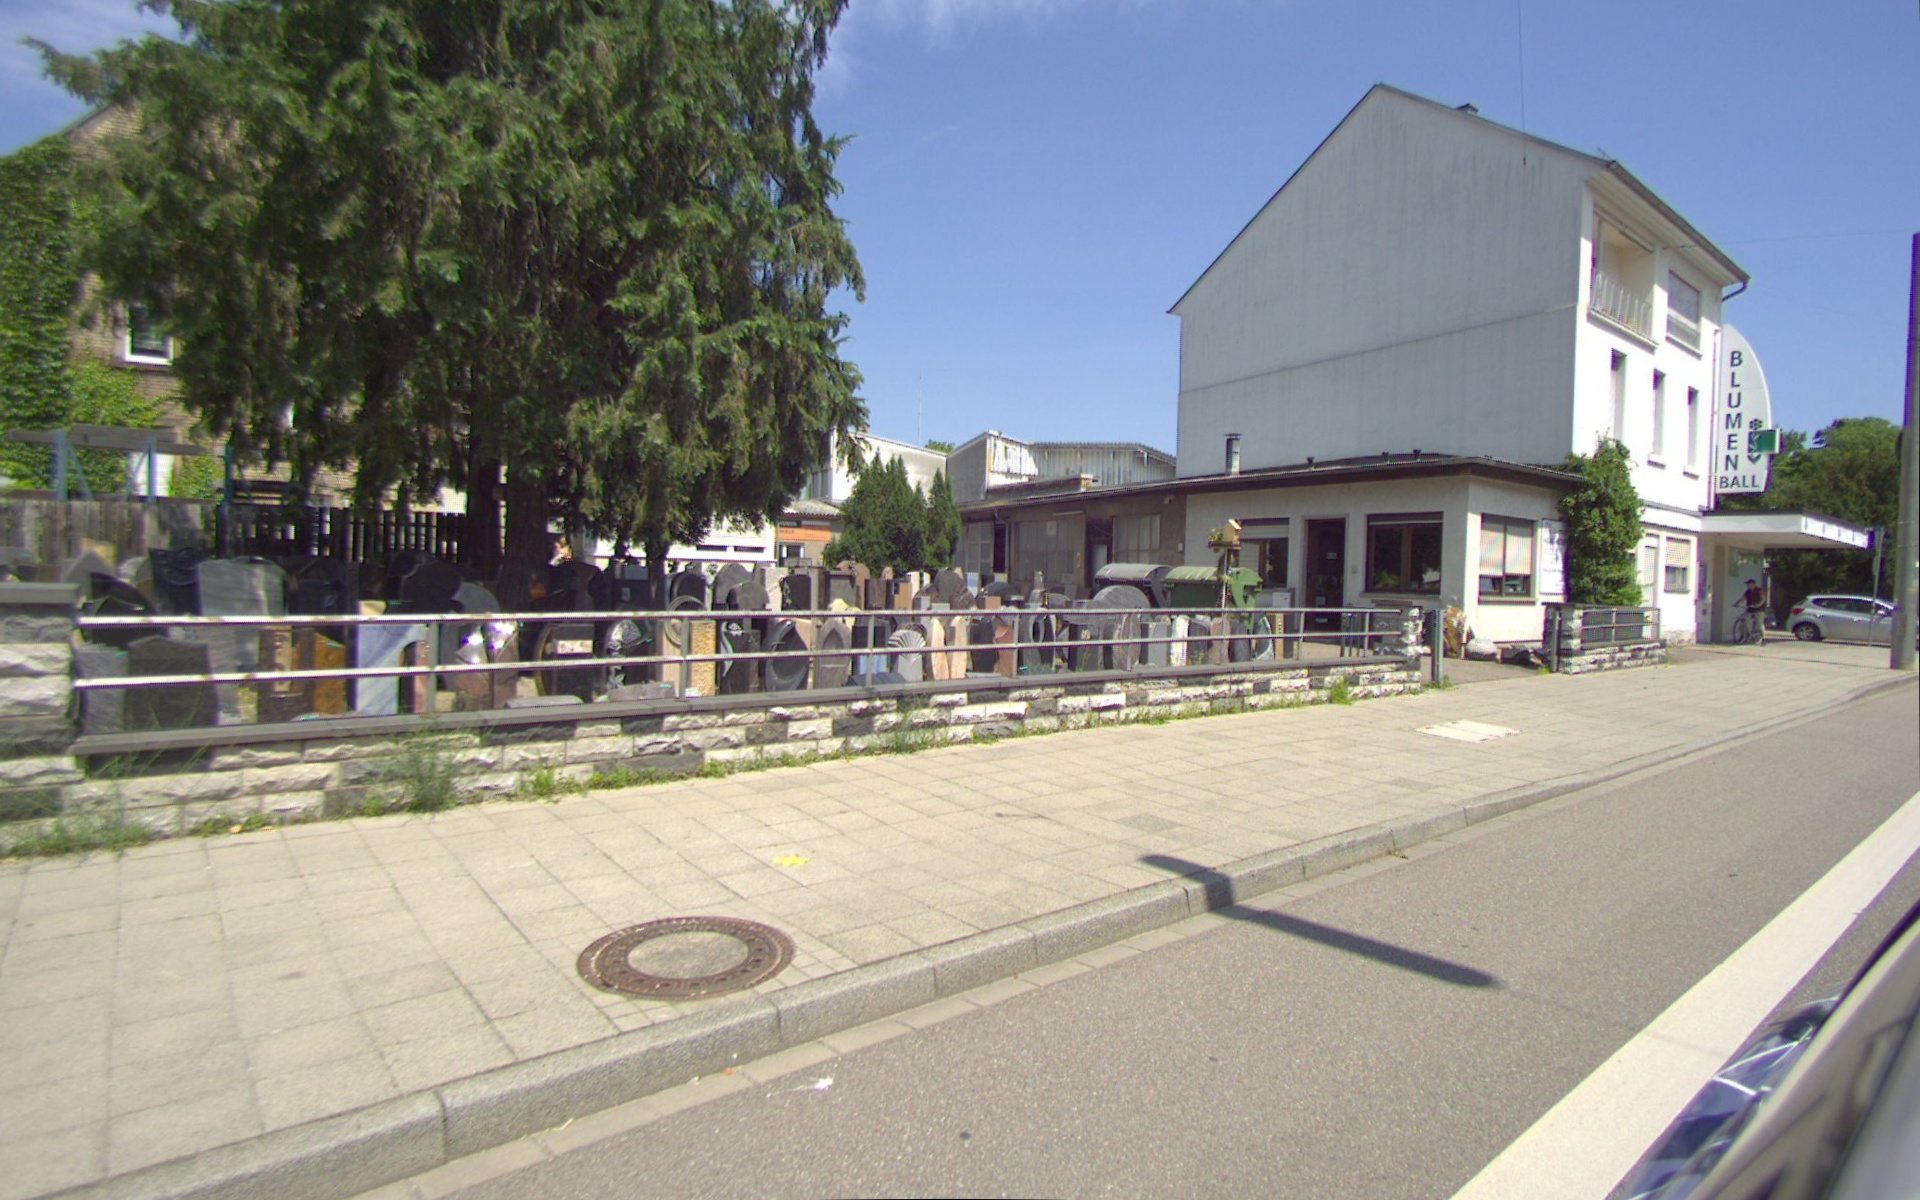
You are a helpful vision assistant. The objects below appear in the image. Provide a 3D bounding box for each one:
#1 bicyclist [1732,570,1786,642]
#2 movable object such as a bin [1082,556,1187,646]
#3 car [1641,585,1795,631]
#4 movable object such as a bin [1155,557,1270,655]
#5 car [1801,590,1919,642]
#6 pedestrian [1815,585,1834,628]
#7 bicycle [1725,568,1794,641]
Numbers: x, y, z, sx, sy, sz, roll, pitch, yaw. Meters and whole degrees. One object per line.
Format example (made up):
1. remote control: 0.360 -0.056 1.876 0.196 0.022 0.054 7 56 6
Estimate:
1. bicyclist: 22.041 0.164 27.920 0.870 1.897 0.792 2 3 -33
2. movable object such as a bin: 3.039 -0.006 17.679 1.129 1.500 1.392 1 1 -36
3. car: 29.176 0.272 39.068 1.566 1.475 4.462 2 2 -39
4. movable object such as a bin: 4.094 0.071 16.458 1.130 1.500 1.390 1 1 -39
5. car: 30.176 0.521 32.968 1.666 1.536 3.999 1 2 -37
6. pedestrian: 33.171 0.246 38.830 0.533 1.618 0.420 0 0 37
7. bicycle: 22.100 0.132 27.958 1.920 1.923 0.802 1 3 -33
